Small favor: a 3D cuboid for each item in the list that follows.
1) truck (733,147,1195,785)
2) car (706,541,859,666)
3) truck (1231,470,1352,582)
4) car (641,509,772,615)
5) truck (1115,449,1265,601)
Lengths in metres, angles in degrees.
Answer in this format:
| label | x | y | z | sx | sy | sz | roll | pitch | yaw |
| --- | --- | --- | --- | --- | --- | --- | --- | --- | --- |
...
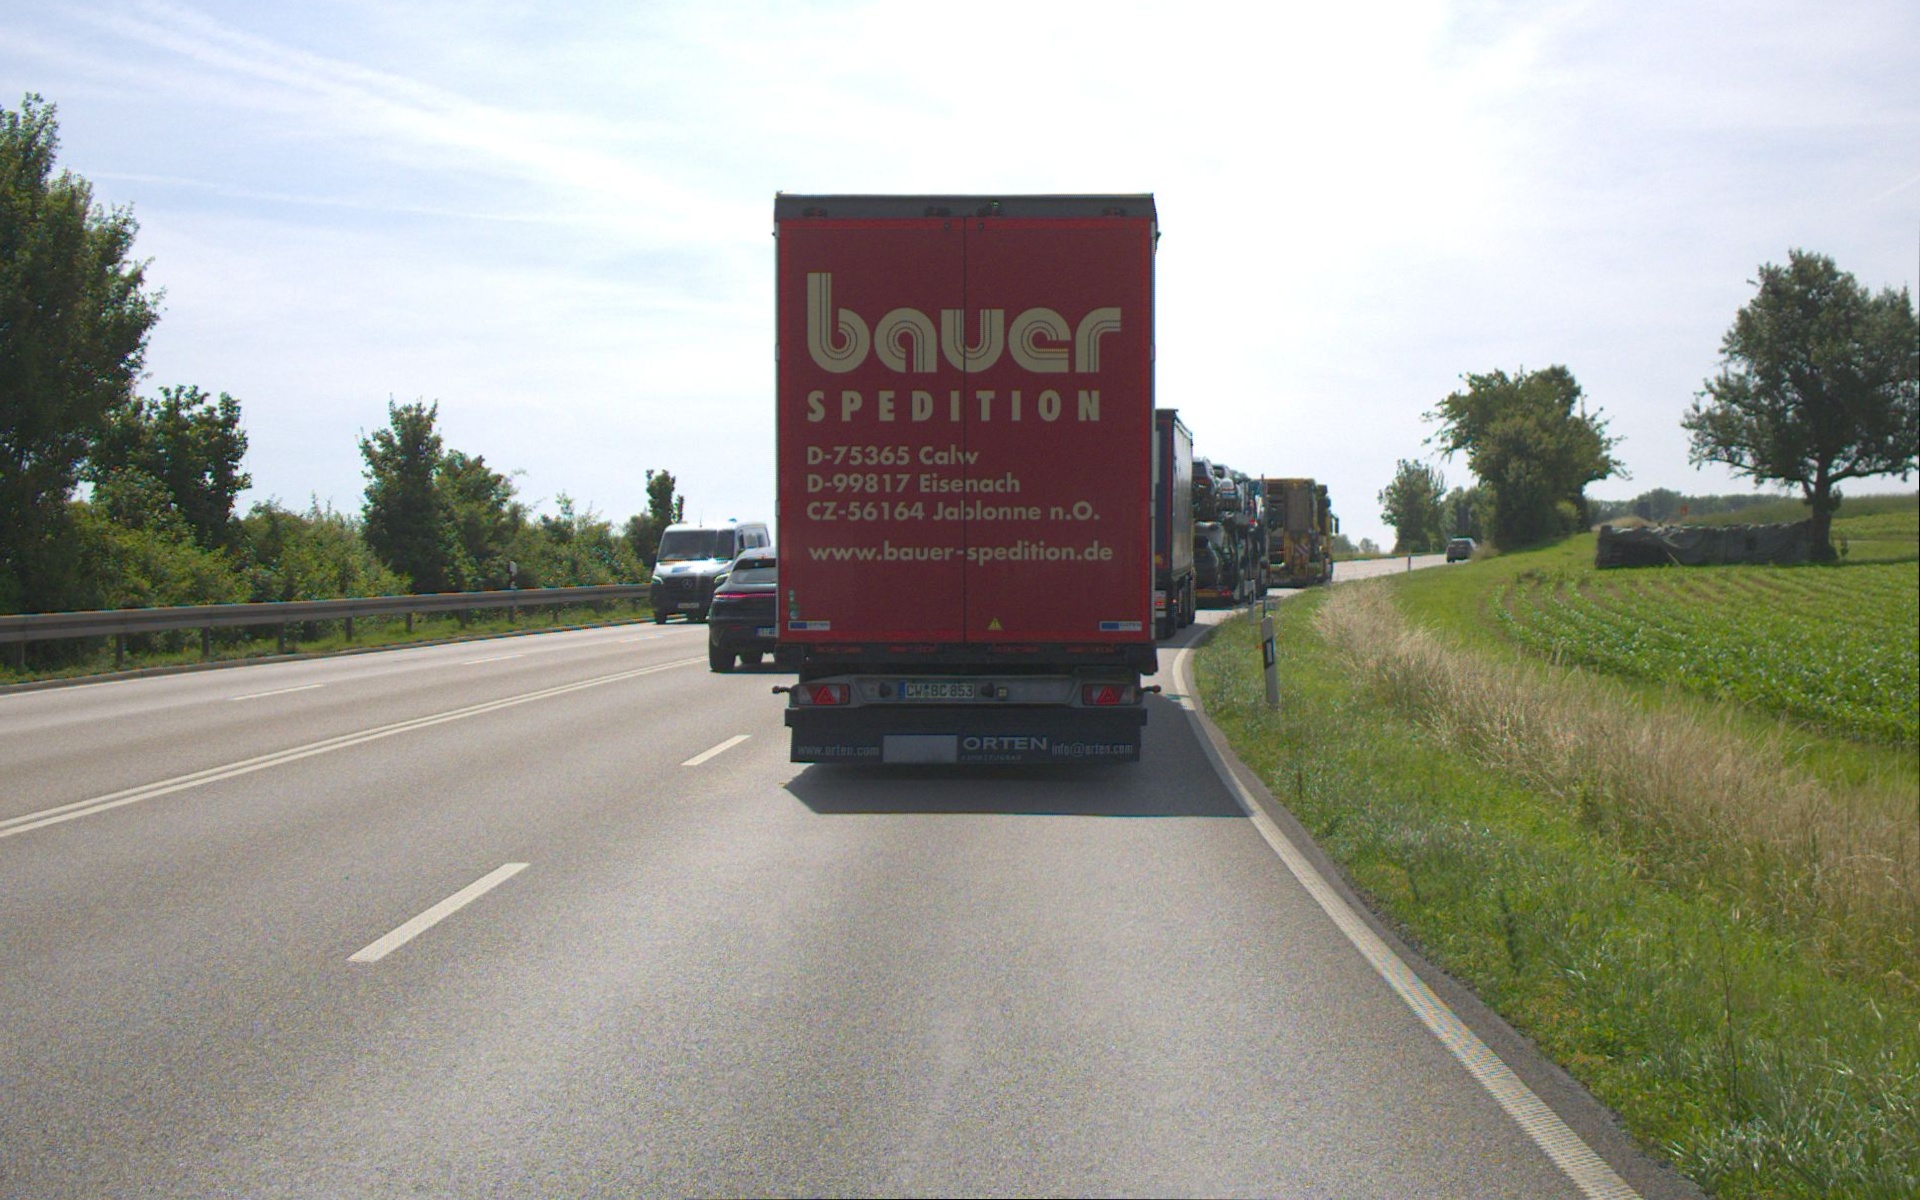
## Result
| label | x | y | z | sx | sy | sz | roll | pitch | yaw |
| --- | --- | --- | --- | --- | --- | --- | --- | --- | --- |
| truck | 0.211 | -1.025 | 30.910 | 3.007 | 4.165 | 16.714 | 0 | 1 | 1 |
| car | -2.330 | 0.030 | 45.863 | 1.524 | 1.576 | 3.999 | 1 | 1 | 4 |
| truck | 12.672 | -2.791 | 129.979 | 3.048 | 3.897 | 18.390 | -1 | 1 | 10 |
| car | -5.918 | -0.896 | 80.967 | 2.089 | 2.386 | 5.843 | 0 | 0 | 6 |
| truck | 6.653 | -2.083 | 96.838 | 3.048 | 3.897 | 15.611 | -1 | 1 | 8 |
